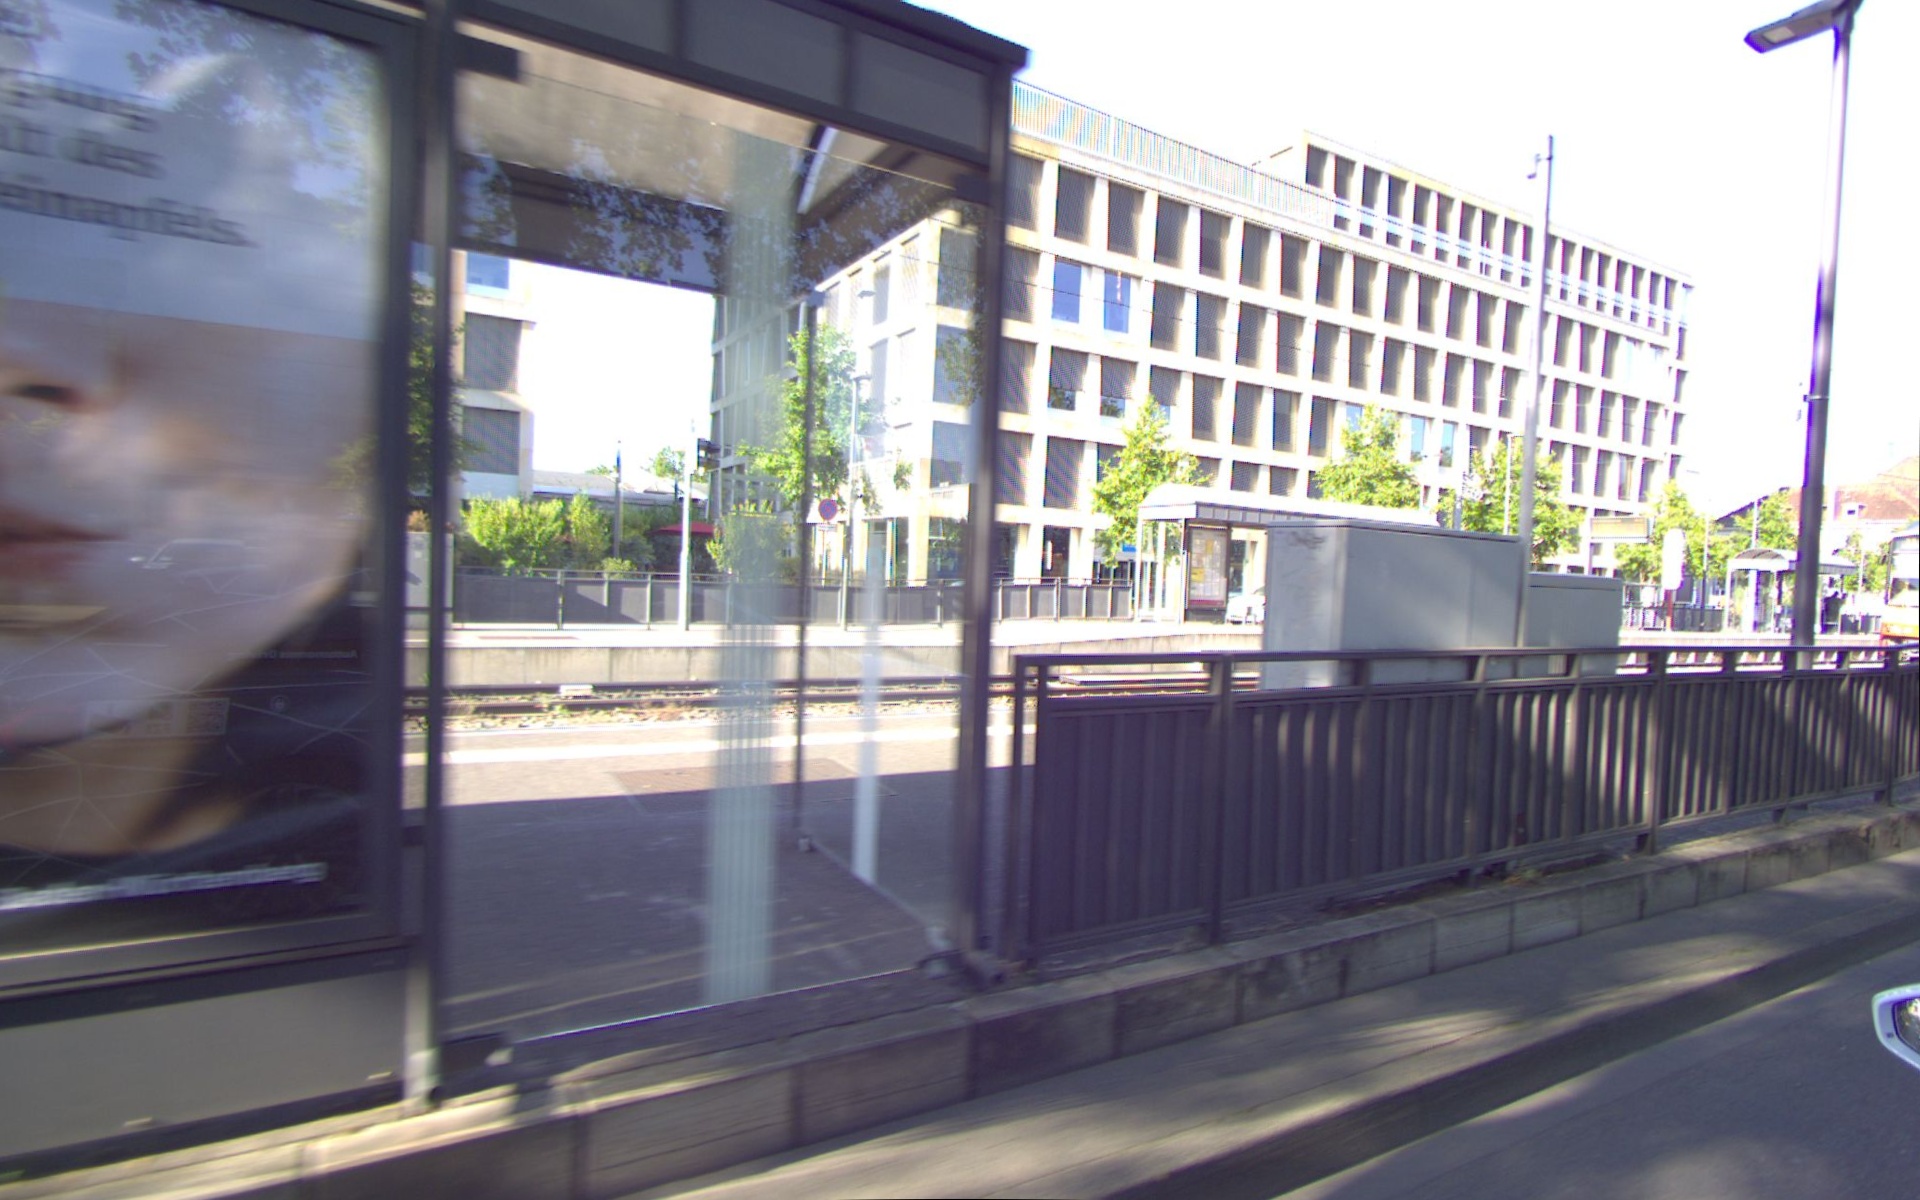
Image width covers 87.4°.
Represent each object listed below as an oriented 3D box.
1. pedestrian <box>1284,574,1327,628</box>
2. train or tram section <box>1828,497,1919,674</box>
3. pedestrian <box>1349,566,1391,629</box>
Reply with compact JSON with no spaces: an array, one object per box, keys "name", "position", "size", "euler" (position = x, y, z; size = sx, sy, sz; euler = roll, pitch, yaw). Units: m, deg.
[{"name":"pedestrian","position":[8.348,0.021,24.263],"size":[0.715,1.277,0.612],"euler":[2,2,-26]},{"name":"train or tram section","position":[27.212,-0.131,25.553],"size":[14.053,3.881,3.292],"euler":[2,2,-31]},{"name":"pedestrian","position":[10.451,-0.064,25.622],"size":[0.714,1.548,0.613],"euler":[2,2,-21]}]
